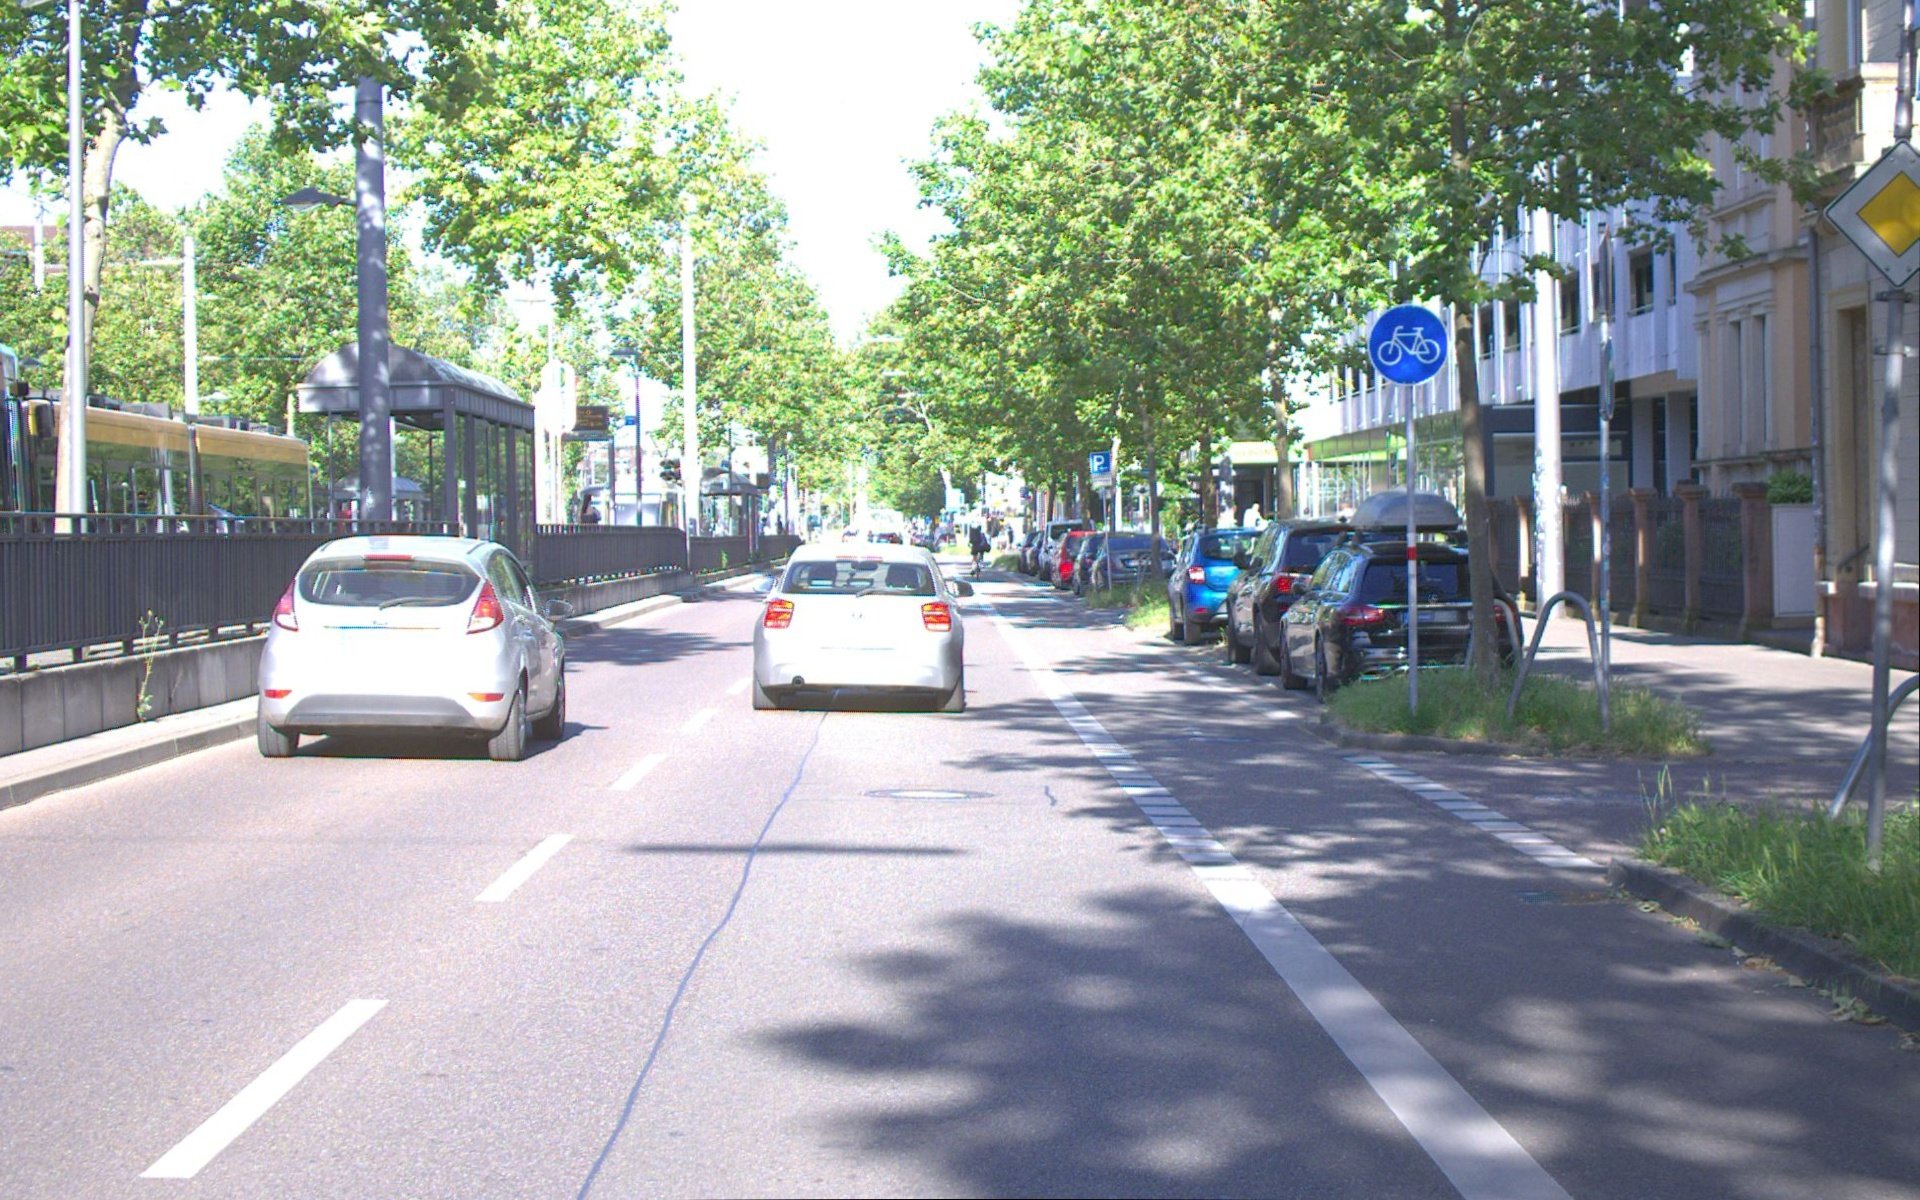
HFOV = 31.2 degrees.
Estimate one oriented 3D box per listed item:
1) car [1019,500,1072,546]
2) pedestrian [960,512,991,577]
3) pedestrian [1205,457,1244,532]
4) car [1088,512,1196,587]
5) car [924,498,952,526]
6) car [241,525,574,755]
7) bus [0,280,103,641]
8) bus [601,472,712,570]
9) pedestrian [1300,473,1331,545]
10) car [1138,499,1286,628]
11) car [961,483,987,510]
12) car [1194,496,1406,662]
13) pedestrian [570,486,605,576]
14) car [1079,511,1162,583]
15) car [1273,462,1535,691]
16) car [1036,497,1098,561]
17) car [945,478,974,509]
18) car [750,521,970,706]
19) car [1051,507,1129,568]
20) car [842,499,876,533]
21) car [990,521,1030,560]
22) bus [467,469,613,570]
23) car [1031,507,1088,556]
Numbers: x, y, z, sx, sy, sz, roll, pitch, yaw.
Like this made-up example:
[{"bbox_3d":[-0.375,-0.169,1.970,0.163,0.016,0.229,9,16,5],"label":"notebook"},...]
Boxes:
[{"bbox_3d":[2.986,-2.705,120.650,1.700,1.529,3.717,1,2,0],"label":"car"},{"bbox_3d":[0.485,-1.736,107.246,0.838,2.006,0.648,1,2,7],"label":"pedestrian"},{"bbox_3d":[7.096,-2.833,92.388,0.963,2.007,0.939,0,1,0],"label":"pedestrian"},{"bbox_3d":[3.848,-1.077,73.346,1.993,1.504,4.598,1,1,0],"label":"car"},{"bbox_3d":[-1.595,-6.417,250.130,2.071,2.006,4.000,0,2,0],"label":"car"},{"bbox_3d":[-3.655,0.209,23.306,1.646,1.358,3.760,1,2,0],"label":"car"},{"bbox_3d":[-10.539,-1.262,30.702,2.869,3.432,11.612,0,2,0],"label":"bus"},{"bbox_3d":[-11.852,-3.167,135.959,2.750,3.613,18.849,0,2,0],"label":"bus"},{"bbox_3d":[10.005,-2.554,96.773,0.788,2.007,0.891,0,1,0],"label":"pedestrian"},{"bbox_3d":[3.429,-0.539,47.358,1.692,1.652,4.040,-1,2,-1],"label":"car"},{"bbox_3d":[1.034,-7.836,260.875,1.875,2.006,3.712,1,2,0],"label":"car"},{"bbox_3d":[3.660,-0.286,37.721,1.798,1.694,4.738,0,2,-1],"label":"car"},{"bbox_3d":[-8.175,-1.516,75.480,0.639,1.947,0.814,1,2,0],"label":"pedestrian"},{"bbox_3d":[3.645,-1.244,78.690,1.669,1.546,4.000,1,2,0],"label":"car"},{"bbox_3d":[4.013,-0.271,31.789,1.754,1.958,4.738,0,2,-1],"label":"car"},{"bbox_3d":[3.233,-2.160,104.411,1.724,1.874,4.000,1,1,0],"label":"car"},{"bbox_3d":[-0.040,-7.363,237.849,1.993,2.007,4.000,0,0,0],"label":"car"},{"bbox_3d":[-0.855,0.066,29.932,1.762,1.427,4.001,1,2,-1],"label":"car"},{"bbox_3d":[3.328,-1.602,88.767,1.806,1.515,4.000,1,1,0],"label":"car"},{"bbox_3d":[-6.297,-5.235,214.084,1.993,2.006,4.000,1,2,0],"label":"car"},{"bbox_3d":[2.610,-3.161,181.790,1.993,2.006,4.000,1,2,0],"label":"car"},{"bbox_3d":[-16.377,-3.263,136.157,2.869,3.616,24.605,0,2,0],"label":"bus"},{"bbox_3d":[3.286,-2.296,114.072,1.711,1.557,4.000,1,2,0],"label":"car"}]
